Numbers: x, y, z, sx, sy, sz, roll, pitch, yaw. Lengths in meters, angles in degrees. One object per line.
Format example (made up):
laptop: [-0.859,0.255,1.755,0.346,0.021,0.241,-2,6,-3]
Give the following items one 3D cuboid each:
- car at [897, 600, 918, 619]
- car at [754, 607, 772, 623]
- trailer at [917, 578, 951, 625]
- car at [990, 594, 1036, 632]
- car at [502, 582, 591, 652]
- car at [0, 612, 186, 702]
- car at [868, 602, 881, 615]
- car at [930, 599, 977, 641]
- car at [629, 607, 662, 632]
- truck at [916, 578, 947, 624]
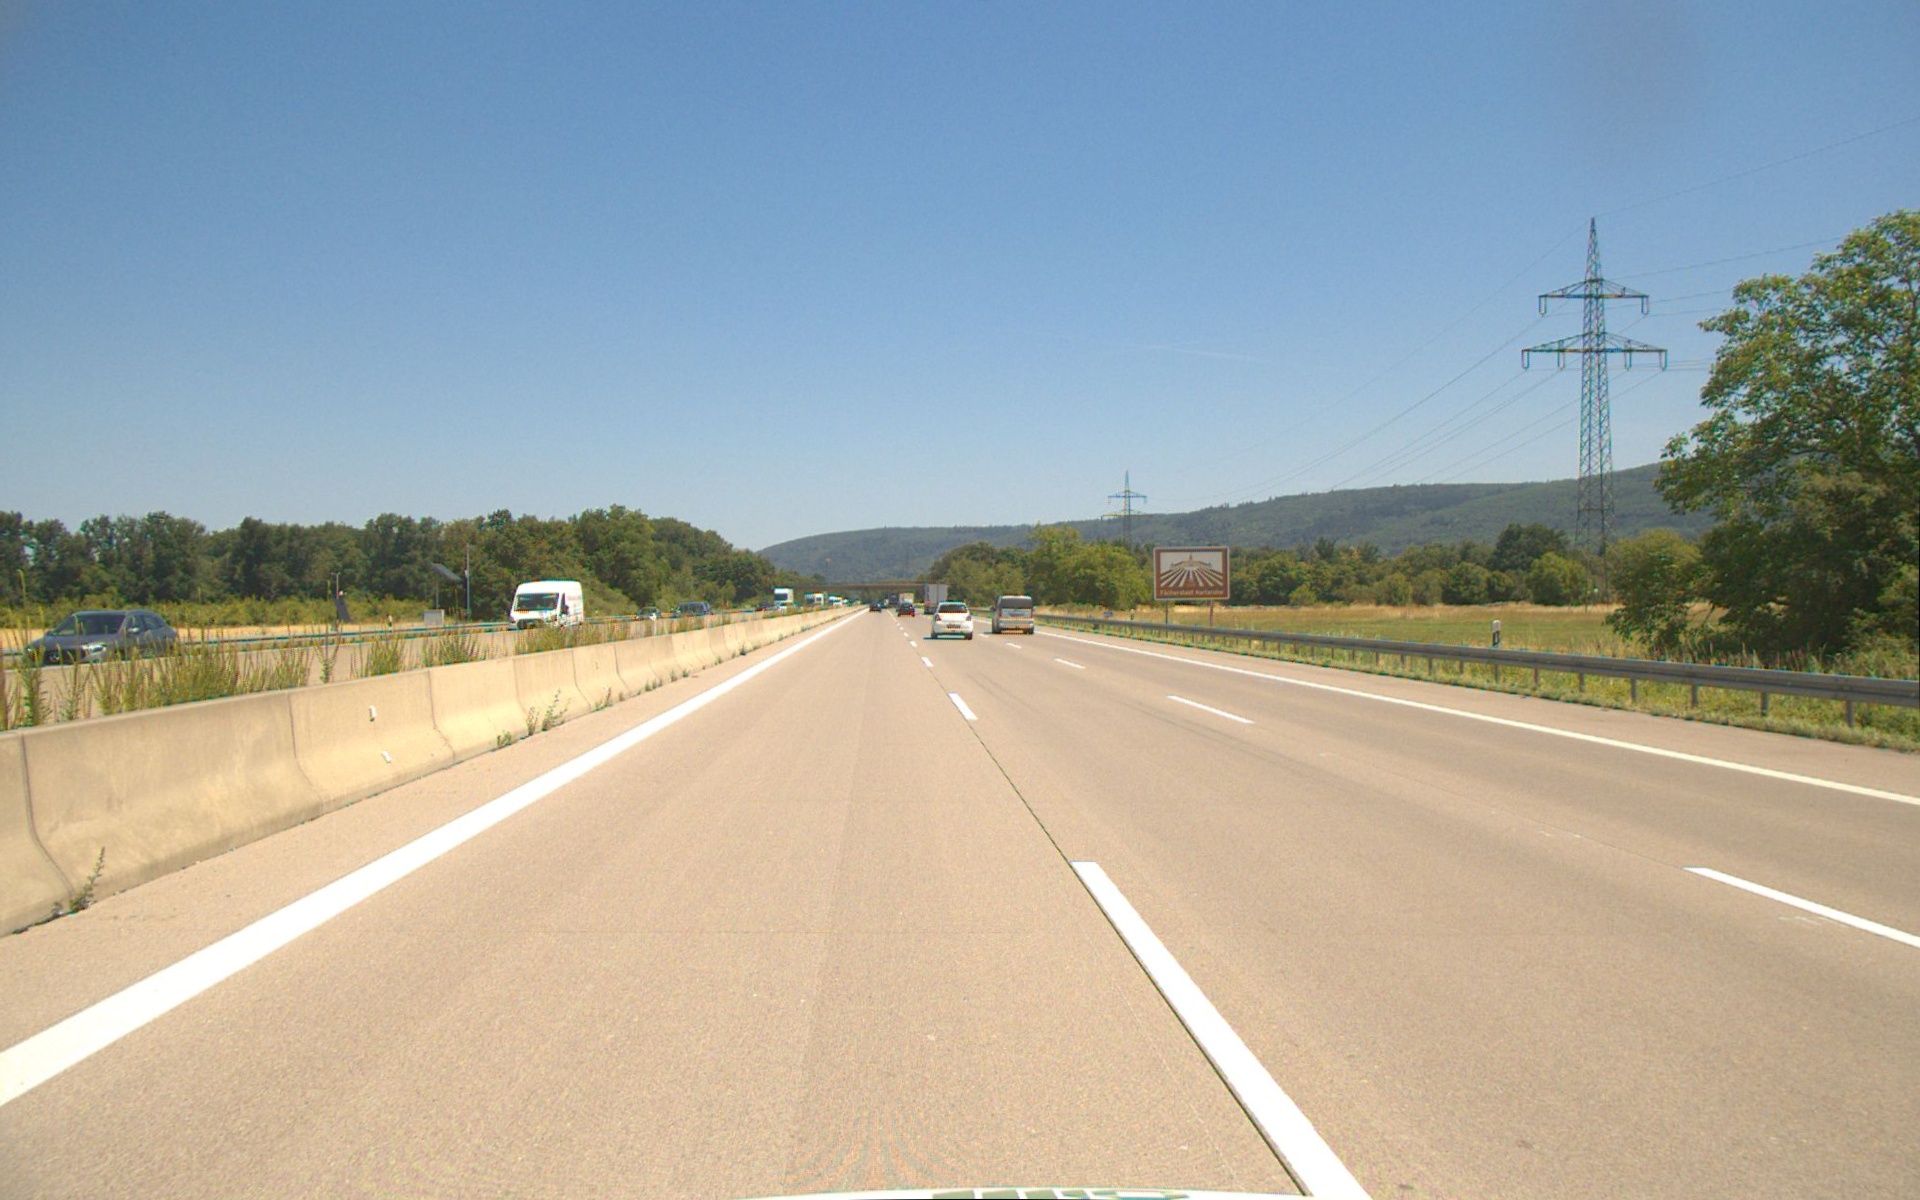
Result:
car: [-5.565,0.970,175.340,1.954,1.881,3.997,3,0,-4]
car: [-23.498,1.792,197.062,1.955,1.870,4.811,1,0,-5]
trailer: [-3.436,0.158,214.664,3.648,5.913,12.151,1,0,-4]
car: [2.679,0.642,83.932,1.954,1.881,3.997,1,0,-3]
car: [-16.162,0.637,64.954,2.168,2.564,6.121,1,0,-3]
car: [-18.403,1.140,35.191,1.718,1.713,4.840,1,0,-2]
car: [-12.286,1.222,237.192,1.890,1.825,3.997,1,0,-3]
car: [-0.317,0.815,69.795,1.783,1.691,3.997,0,0,-3]
car: [-23.348,1.434,123.028,1.955,1.814,3.996,1,0,-5]
truck: [-3.886,0.143,220.687,3.648,5.913,7.047,1,0,-4]
